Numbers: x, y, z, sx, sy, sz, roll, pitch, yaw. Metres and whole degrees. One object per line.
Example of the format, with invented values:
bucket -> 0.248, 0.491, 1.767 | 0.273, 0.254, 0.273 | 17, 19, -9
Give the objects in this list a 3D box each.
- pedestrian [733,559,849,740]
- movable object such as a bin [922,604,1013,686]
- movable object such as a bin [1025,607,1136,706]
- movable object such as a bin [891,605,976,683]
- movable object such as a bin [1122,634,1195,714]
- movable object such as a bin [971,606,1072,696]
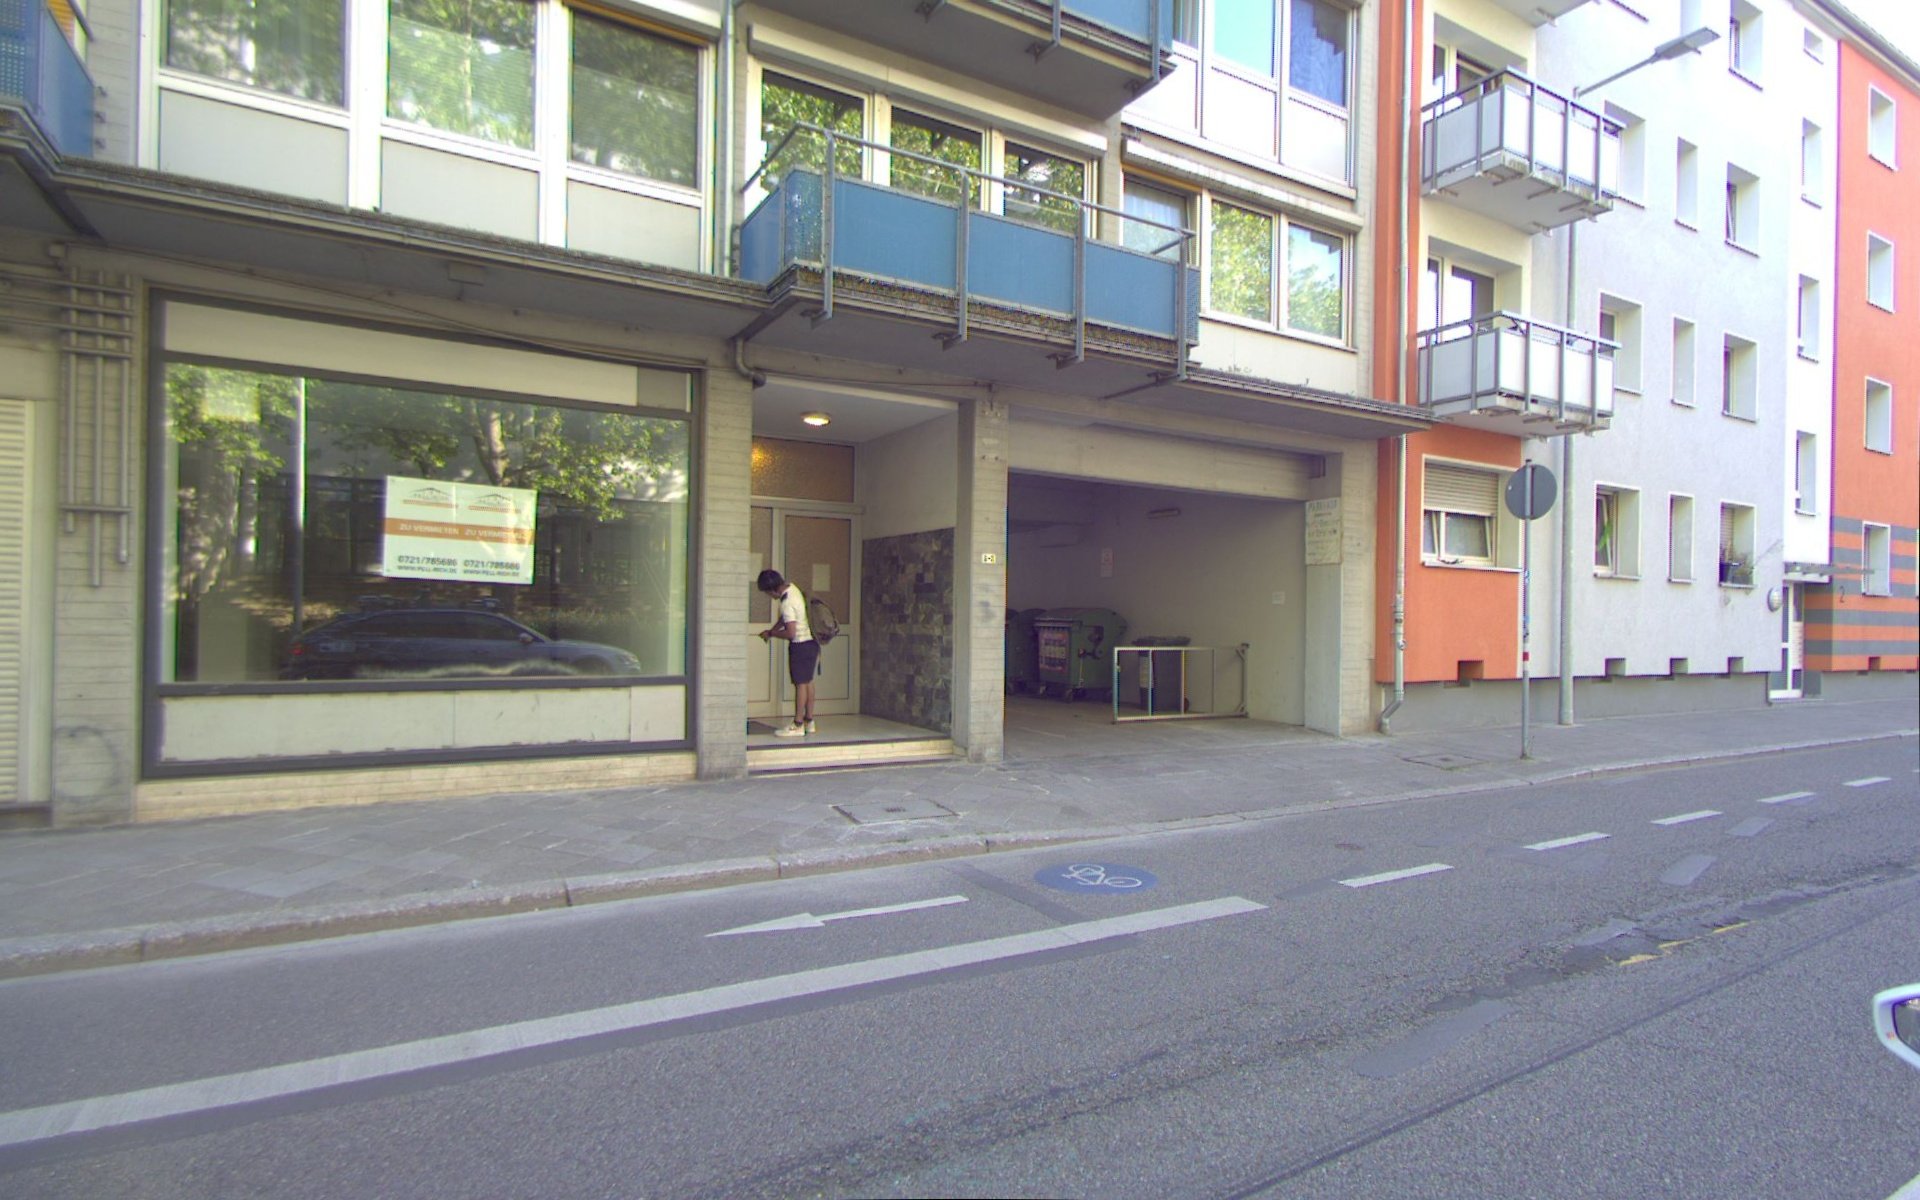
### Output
pedestrian -> -1.580, 0.452, 9.383 | 0.914, 1.606, 0.561 | 1, 0, -29
movable object such as a bin -> 0.130, 0.826, 18.771 | 1.182, 1.452, 1.300 | 2, 0, -30
movable object such as a bin -> 1.883, 0.865, 15.809 | 1.182, 1.452, 1.300 | 2, 0, -30
movable object such as a bin -> -0.538, 0.857, 19.935 | 1.182, 1.452, 1.300 | 2, 0, -30
movable object such as a bin -> 2.860, 1.058, 14.527 | 0.707, 1.089, 0.735 | 2, 0, -30
movable object such as a bin -> 1.043, 0.846, 17.196 | 1.182, 1.452, 1.300 | 2, 0, -30
